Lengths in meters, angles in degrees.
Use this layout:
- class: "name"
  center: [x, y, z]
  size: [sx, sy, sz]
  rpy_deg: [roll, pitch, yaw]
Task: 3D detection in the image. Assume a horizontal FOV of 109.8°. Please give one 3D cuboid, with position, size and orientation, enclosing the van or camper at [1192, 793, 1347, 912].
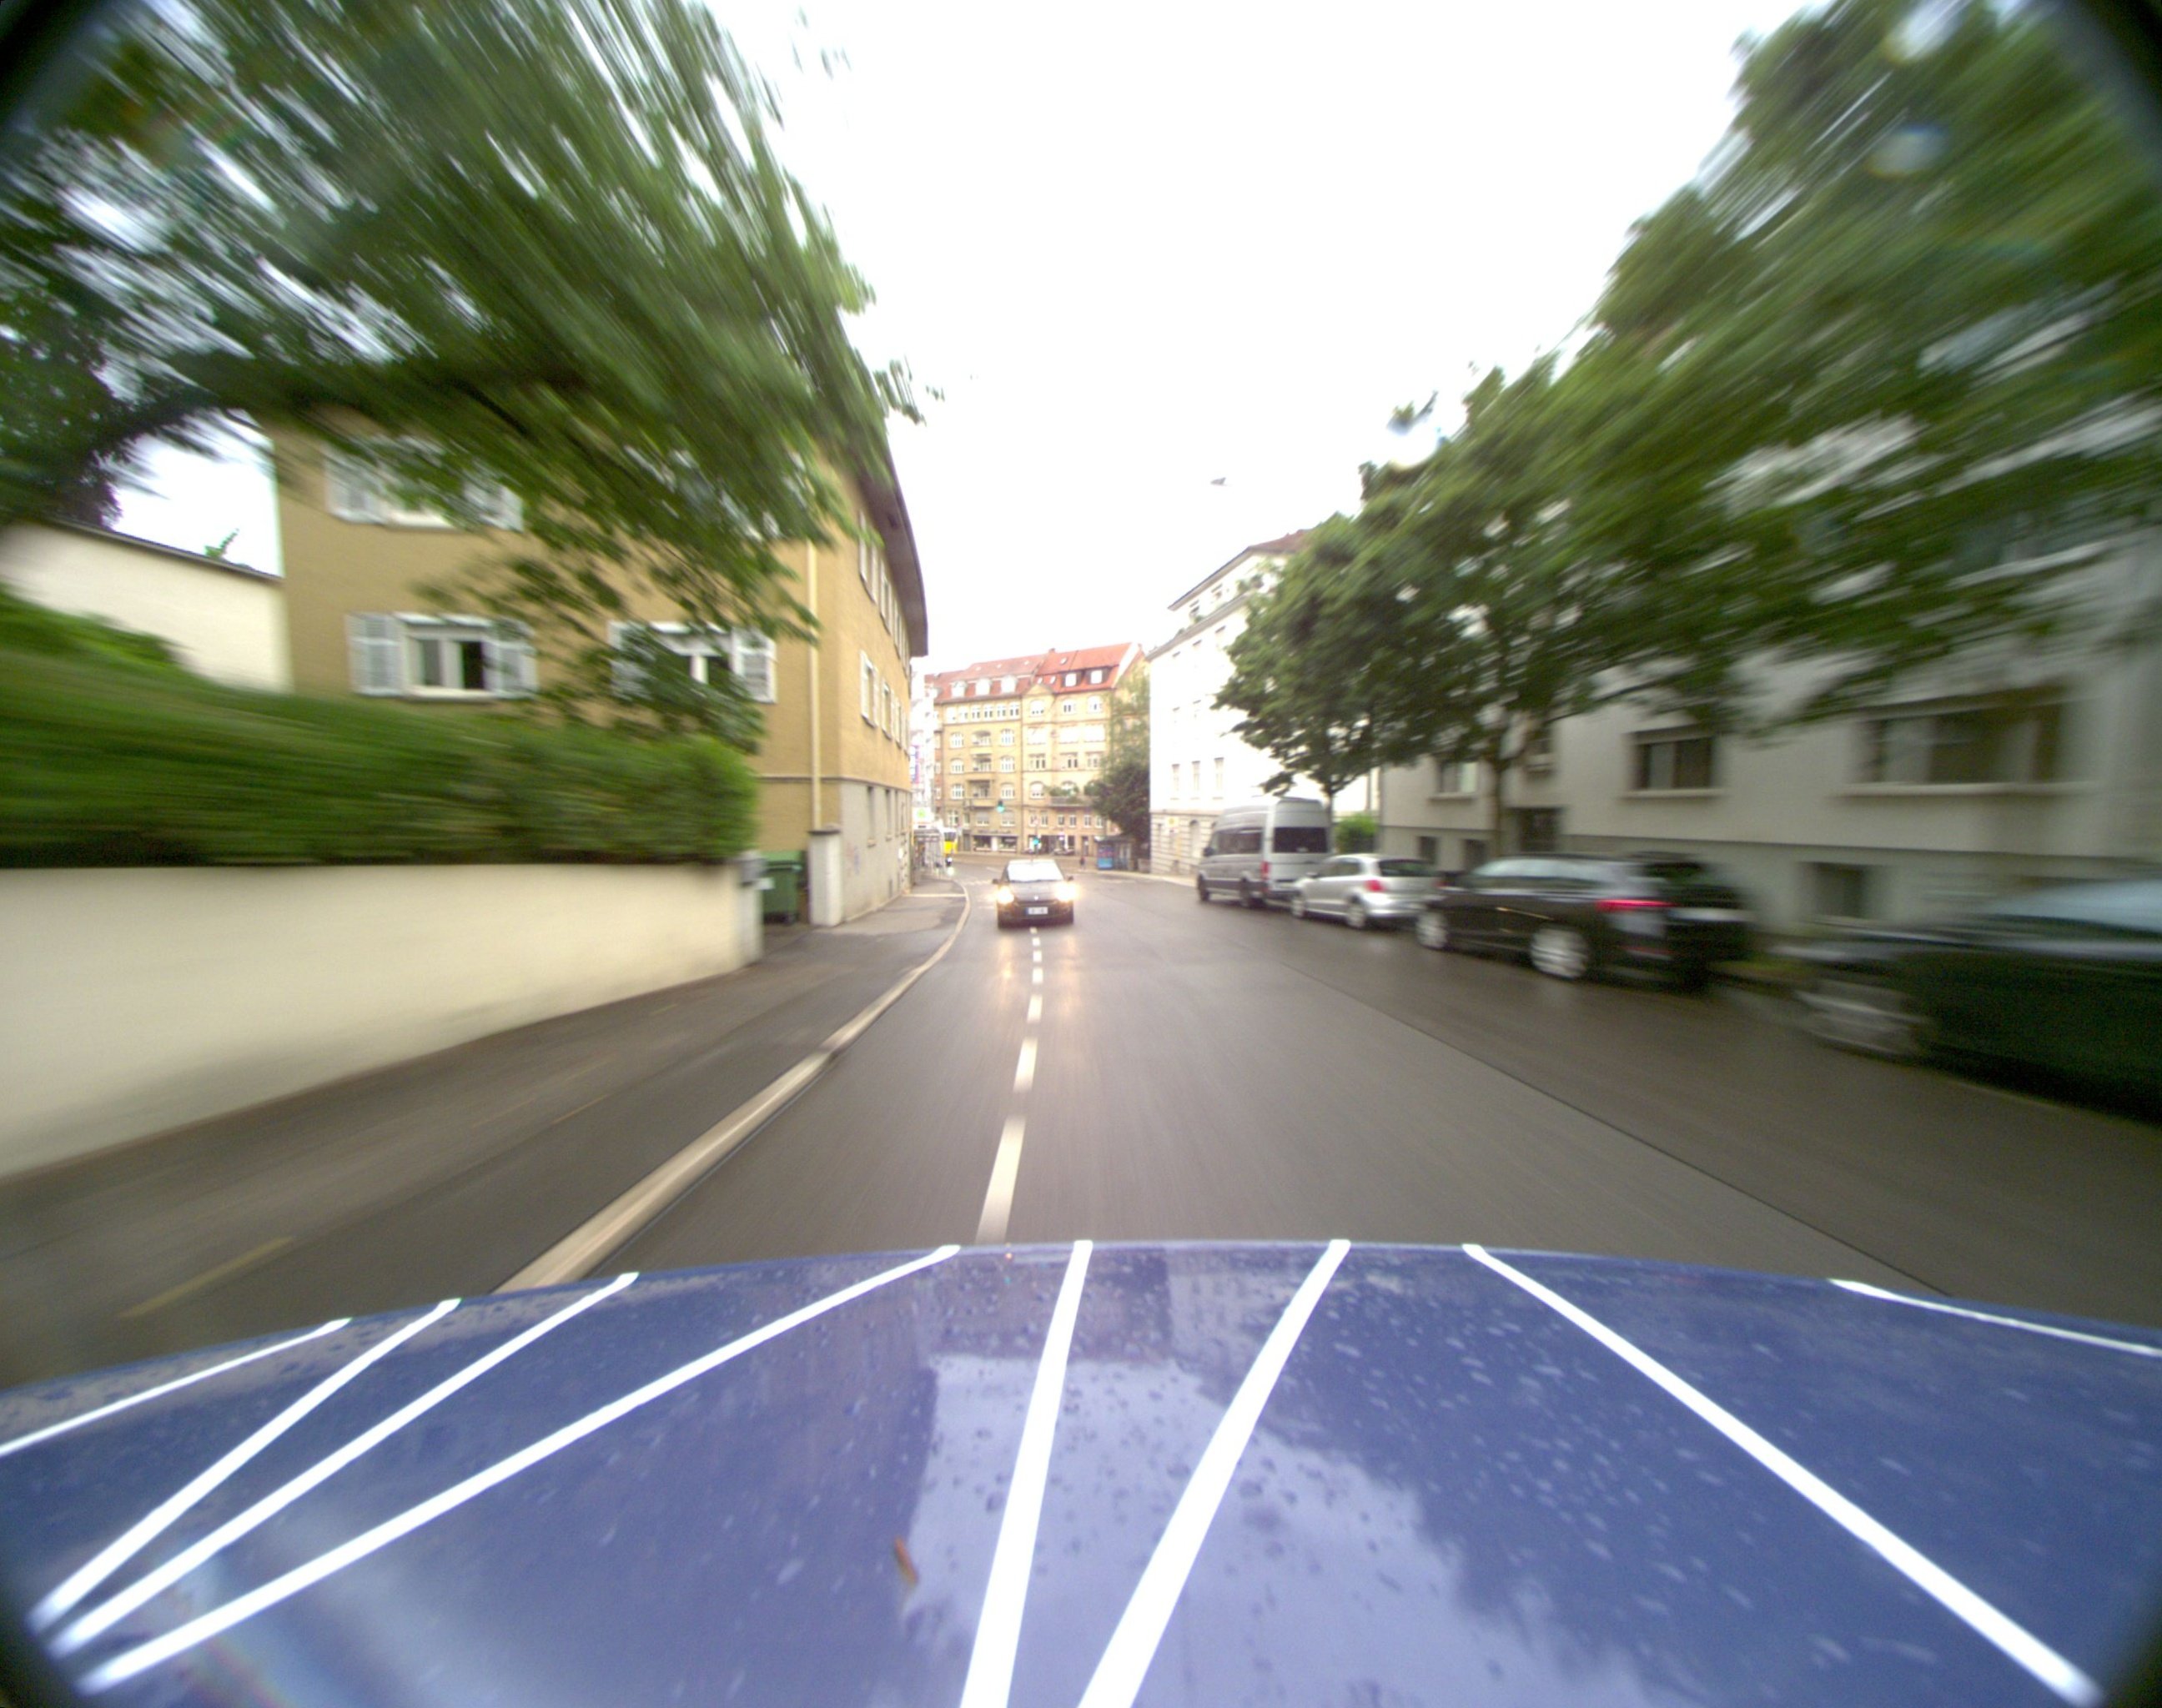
- class: "van or camper"
  center: [4.947, -0.036, 21.077]
  size: [2.074, 2.843, 5.742]
  rpy_deg: [0, 0, -9]

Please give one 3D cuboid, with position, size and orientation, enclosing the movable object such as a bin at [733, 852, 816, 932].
- class: "movable object such as a bin"
  center: [-5.947, 0.721, 14.824]
  size: [1.254, 1.447, 0.826]
  rpy_deg: [-3, 0, -6]

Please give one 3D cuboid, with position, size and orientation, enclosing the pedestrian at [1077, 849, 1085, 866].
- class: "pedestrian"
  center: [0.004, 0.331, 69.465]
  size: [0.651, 1.571, 0.805]
  rpy_deg: [-1, 1, -4]

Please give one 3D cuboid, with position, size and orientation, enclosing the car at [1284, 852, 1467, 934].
- class: "car"
  center: [5.733, 0.673, 15.375]
  size: [1.591, 1.401, 4.043]
  rpy_deg: [0, 0, -10]

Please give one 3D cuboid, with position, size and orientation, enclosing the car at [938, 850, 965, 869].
- class: "car"
  center: [-12.481, 0.520, 72.952]
  size: [1.899, 1.686, 3.993]
  rpy_deg: [-3, 1, -18]

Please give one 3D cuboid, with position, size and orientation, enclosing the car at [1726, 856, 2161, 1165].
- class: "car"
  center: [6.301, 0.796, 4.066]
  size: [1.791, 1.484, 4.644]
  rpy_deg: [-1, 1, 1]

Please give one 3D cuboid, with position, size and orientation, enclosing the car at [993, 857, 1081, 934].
- class: "car"
  center: [-1.152, 0.886, 17.992]
  size: [1.699, 1.456, 3.997]
  rpy_deg: [-4, 1, -7]

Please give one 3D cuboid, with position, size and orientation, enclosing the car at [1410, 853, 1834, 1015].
- class: "car"
  center: [6.079, 0.757, 9.396]
  size: [1.792, 1.484, 4.496]
  rpy_deg: [1, 0, -4]

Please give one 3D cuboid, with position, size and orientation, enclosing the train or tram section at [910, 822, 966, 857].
- class: "train or tram section"
  center: [-17.741, -1.914, 93.910]
  size: [3.094, 3.982, 9.778]
  rpy_deg: [-2, 4, -34]
